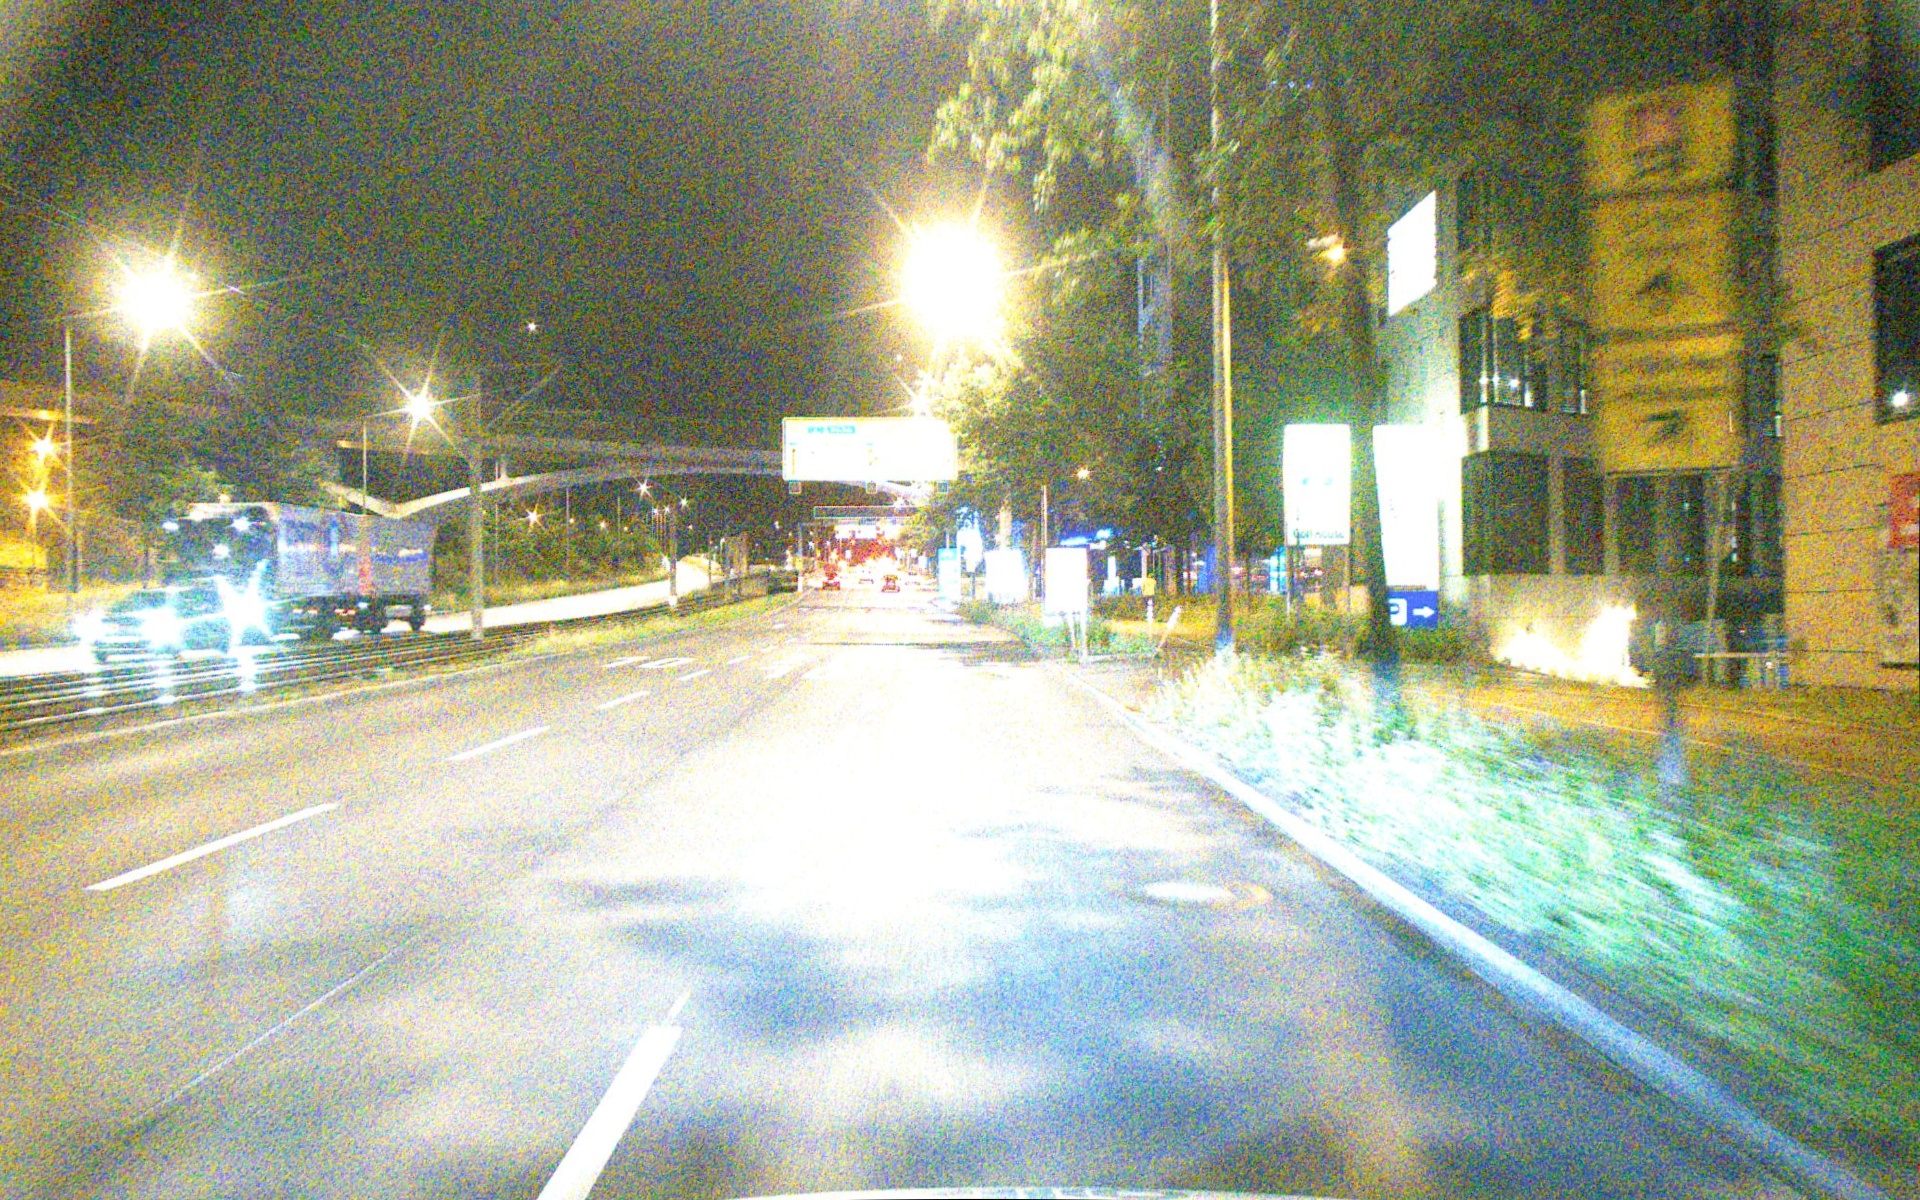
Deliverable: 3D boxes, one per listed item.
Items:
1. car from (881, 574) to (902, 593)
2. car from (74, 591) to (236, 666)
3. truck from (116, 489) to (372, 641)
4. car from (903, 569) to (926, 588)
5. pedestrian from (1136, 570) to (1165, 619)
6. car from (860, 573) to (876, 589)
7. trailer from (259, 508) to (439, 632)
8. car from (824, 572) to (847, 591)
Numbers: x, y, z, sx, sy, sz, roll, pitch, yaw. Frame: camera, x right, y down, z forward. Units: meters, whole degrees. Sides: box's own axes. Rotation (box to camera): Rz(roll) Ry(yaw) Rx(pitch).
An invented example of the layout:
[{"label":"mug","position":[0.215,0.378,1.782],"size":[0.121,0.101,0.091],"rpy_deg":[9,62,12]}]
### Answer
[{"label":"car","position":[-6.427,-1.542,155.274],"size":[1.928,1.741,3.999],"rpy_deg":[1,0,-1]},{"label":"car","position":[-17.439,0.585,36.053],"size":[1.768,1.525,4.082],"rpy_deg":[0,0,-4]},{"label":"truck","position":[-21.225,-0.938,49.996],"size":[3.608,4.023,10.414],"rpy_deg":[1,0,-3]},{"label":"car","position":[-5.294,-2.490,193.004],"size":[2.597,2.049,5.298],"rpy_deg":[1,0,-1]},{"label":"pedestrian","position":[6.865,-0.190,59.624],"size":[0.835,1.737,0.957],"rpy_deg":[2,0,-3]},{"label":"car","position":[-10.689,-2.207,192.071],"size":[1.746,1.741,3.999],"rpy_deg":[1,0,-1]},{"label":"trailer","position":[-21.749,-1.003,59.517],"size":[3.622,4.059,8.390],"rpy_deg":[1,0,-3]},{"label":"car","position":[-12.075,-1.742,160.374],"size":[1.928,1.741,3.999],"rpy_deg":[1,0,-1]}]
